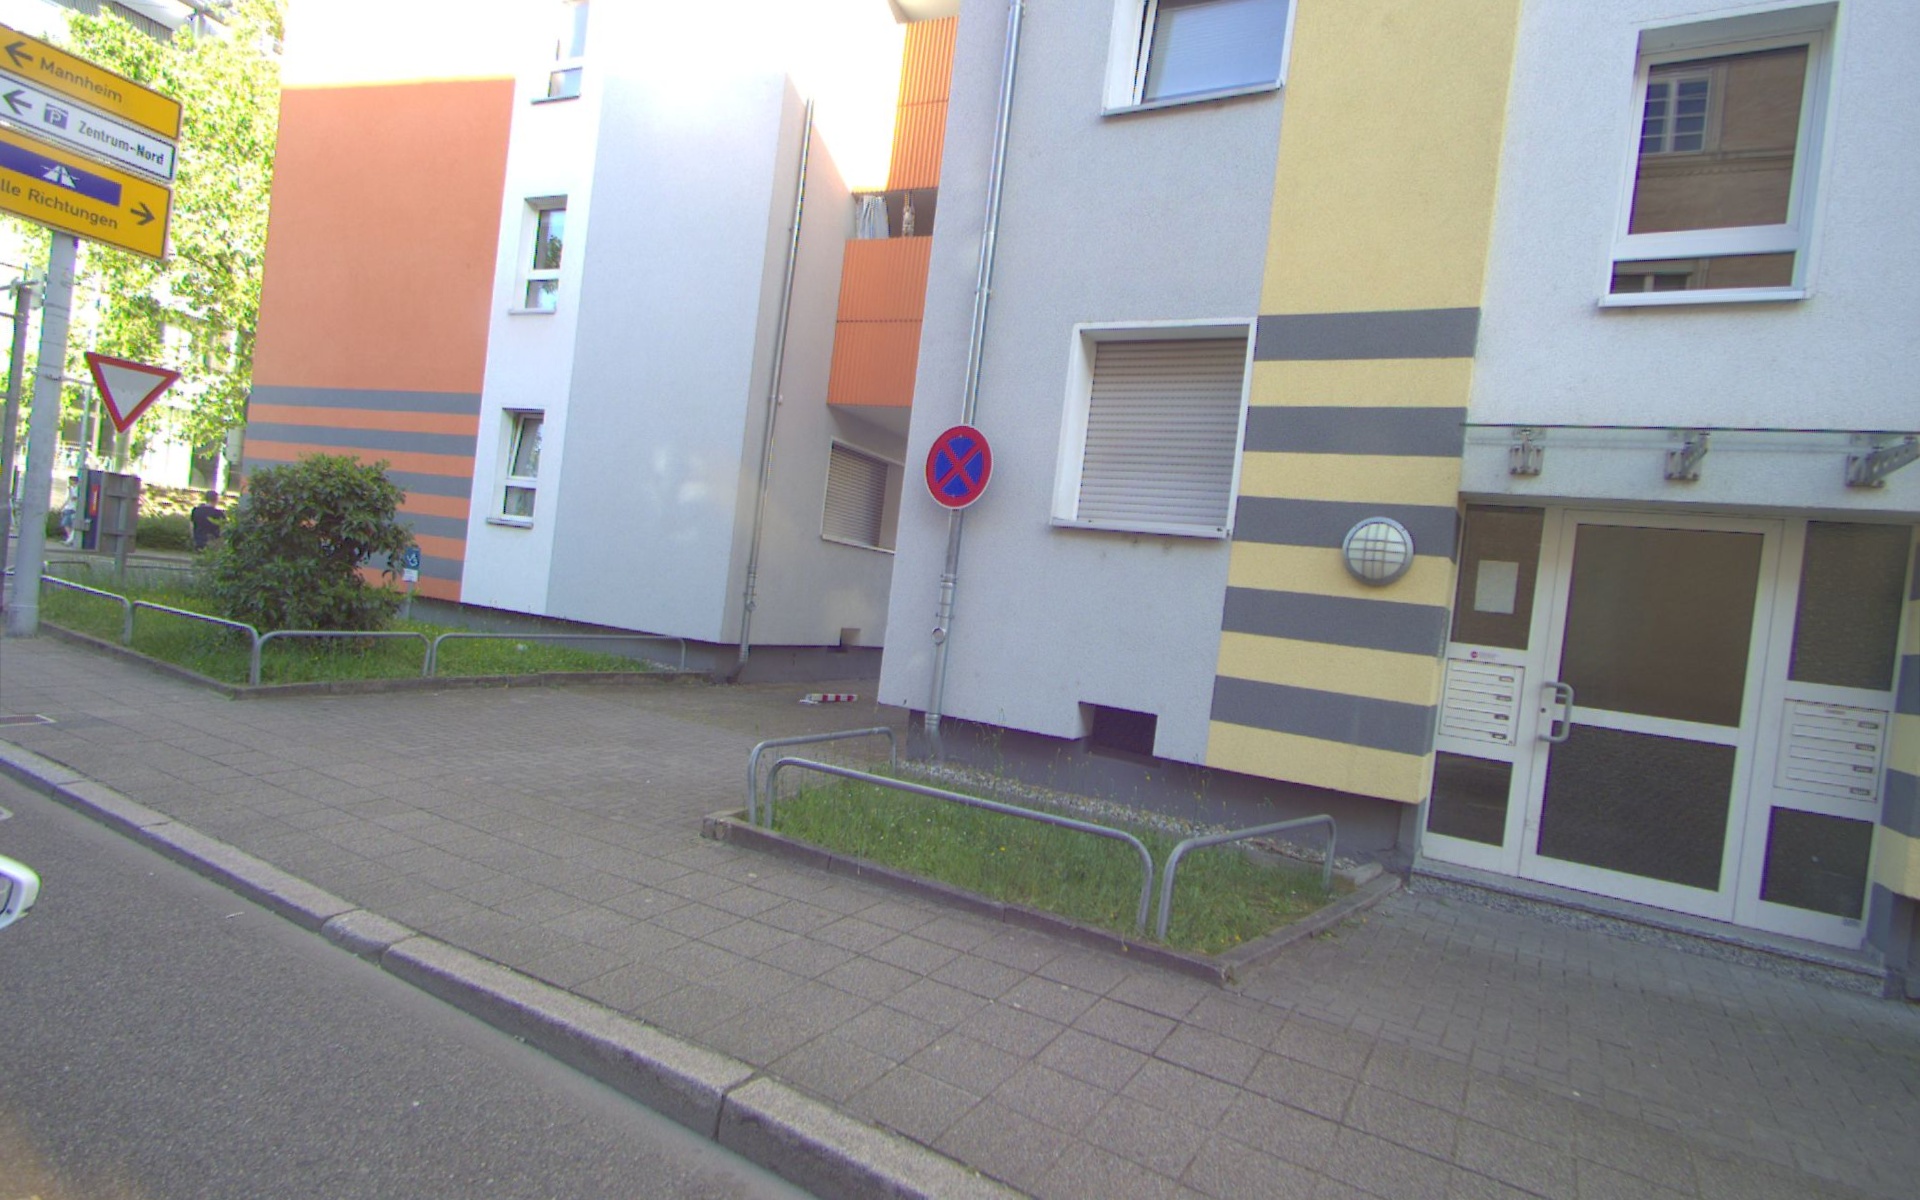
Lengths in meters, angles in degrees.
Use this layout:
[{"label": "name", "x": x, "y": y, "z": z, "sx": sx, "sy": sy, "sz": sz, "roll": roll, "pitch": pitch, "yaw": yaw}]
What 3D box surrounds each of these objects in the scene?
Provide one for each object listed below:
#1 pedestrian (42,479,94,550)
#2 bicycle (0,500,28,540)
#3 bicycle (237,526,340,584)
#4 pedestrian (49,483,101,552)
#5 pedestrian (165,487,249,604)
[{"label": "pedestrian", "x": -24.433, "y": -2.341, "z": 27.558, "sx": 0.637, "sy": 1.816, "sz": 0.766, "roll": 6, "pitch": -1, "yaw": 34}, {"label": "bicycle", "x": -26.376, "y": -2.247, "z": 27.382, "sx": 1.409, "sy": 1.021, "sz": 0.379, "roll": 7, "pitch": 1, "yaw": -11}, {"label": "bicycle", "x": -16.616, "y": -1.100, "z": 24.954, "sx": 0.583, "sy": 1.166, "sz": 1.963, "roll": 7, "pitch": 0, "yaw": 37}, {"label": "pedestrian", "x": -23.885, "y": -2.226, "z": 27.161, "sx": 0.637, "sy": 1.739, "sz": 0.766, "roll": 6, "pitch": -1, "yaw": 34}, {"label": "pedestrian", "x": -12.659, "y": -0.898, "z": 16.942, "sx": 0.690, "sy": 1.831, "sz": 0.719, "roll": 7, "pitch": -1, "yaw": -9}]
